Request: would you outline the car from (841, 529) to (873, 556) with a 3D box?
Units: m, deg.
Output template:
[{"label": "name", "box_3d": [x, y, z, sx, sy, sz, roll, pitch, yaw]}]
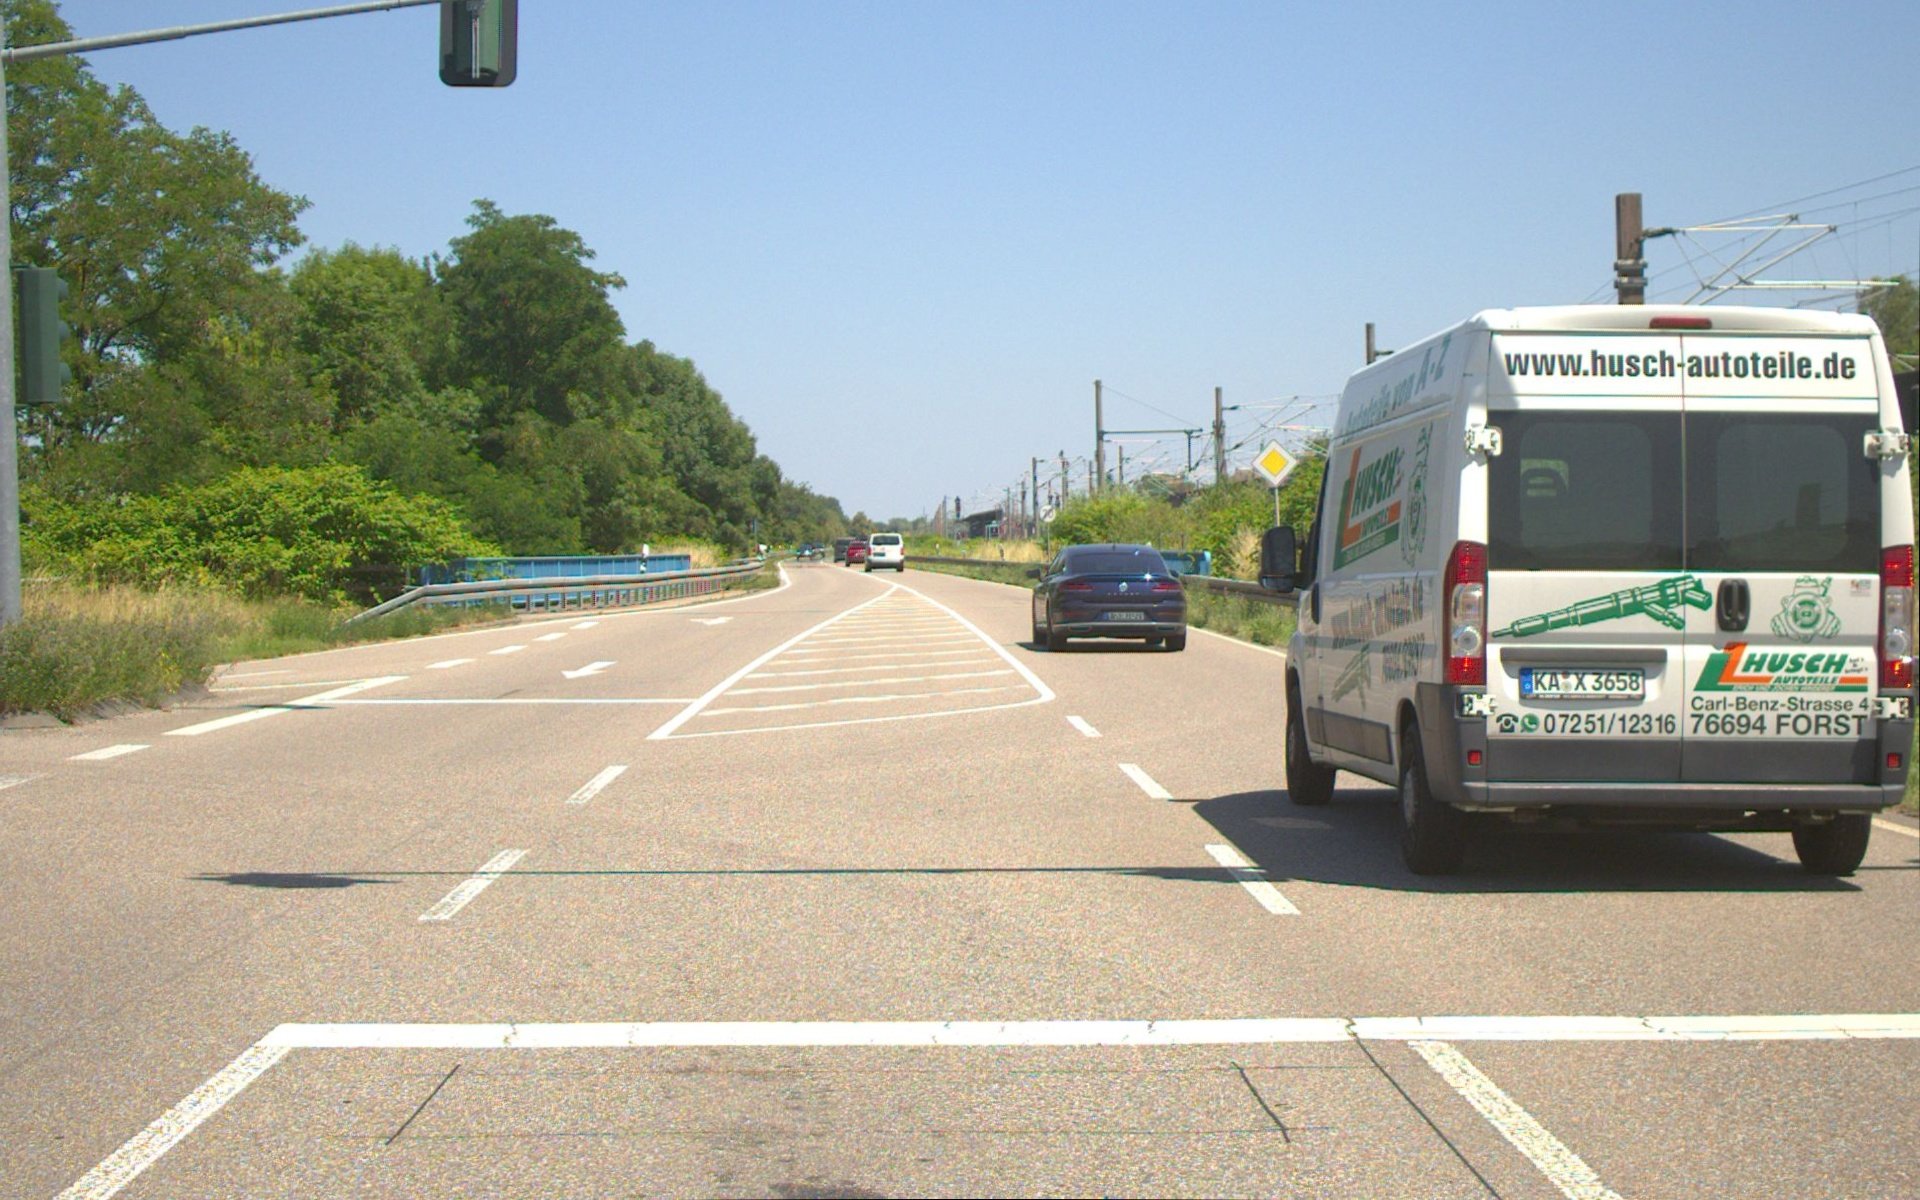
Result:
[{"label": "car", "box_3d": [-6.724, -3.752, 223.951, 2.019, 1.720, 4.543, 0, 1, -3]}]

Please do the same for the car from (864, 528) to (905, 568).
[{"label": "car", "box_3d": [-3.827, -2.652, 173.707, 1.993, 1.977, 4.060, 1, 1, -2]}]

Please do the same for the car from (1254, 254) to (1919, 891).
[{"label": "car", "box_3d": [2.952, -0.185, 17.494, 2.188, 2.595, 6.751, 1, 1, -1]}]

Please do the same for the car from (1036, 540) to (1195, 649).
[{"label": "car", "box_3d": [2.052, -0.110, 46.552, 1.856, 1.375, 4.504, 1, 1, -1]}]
